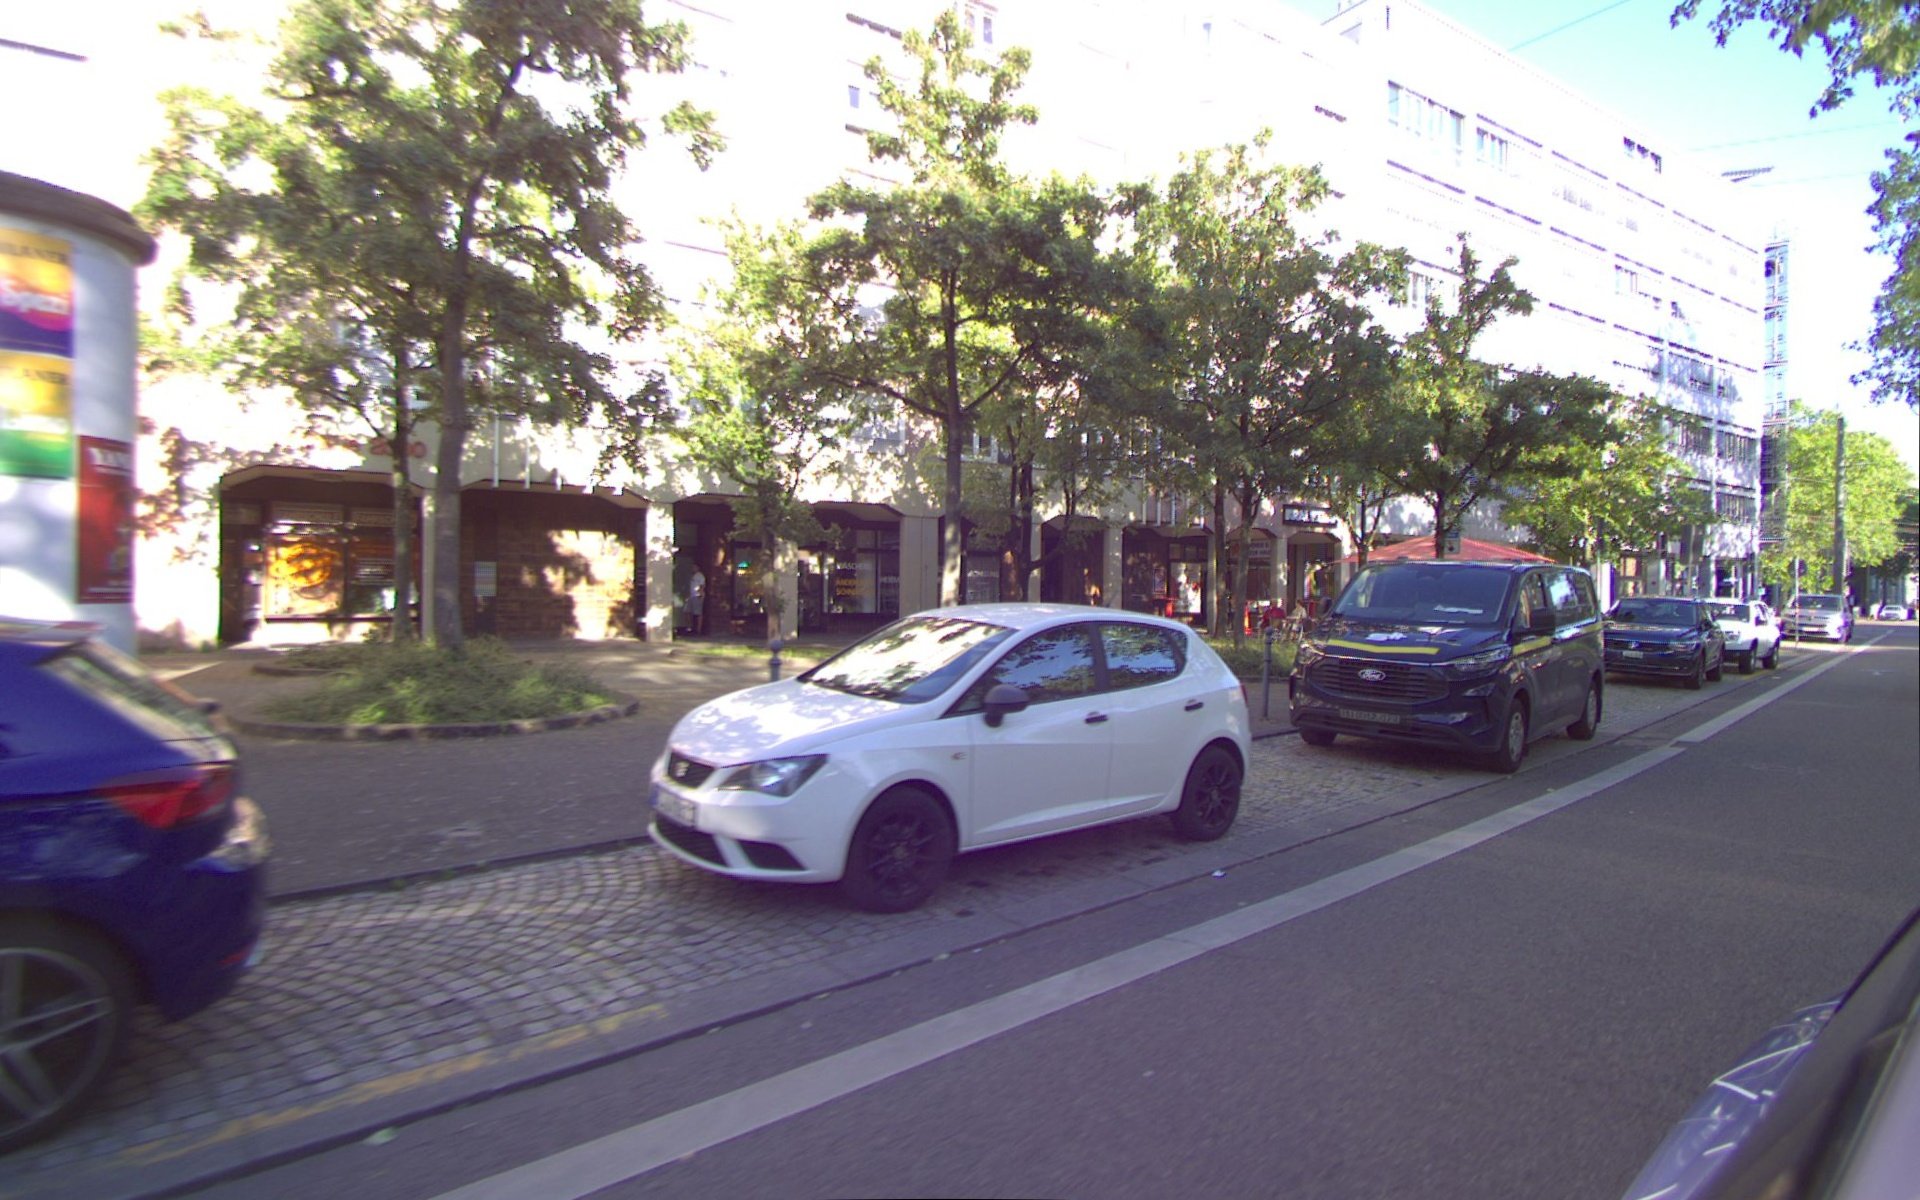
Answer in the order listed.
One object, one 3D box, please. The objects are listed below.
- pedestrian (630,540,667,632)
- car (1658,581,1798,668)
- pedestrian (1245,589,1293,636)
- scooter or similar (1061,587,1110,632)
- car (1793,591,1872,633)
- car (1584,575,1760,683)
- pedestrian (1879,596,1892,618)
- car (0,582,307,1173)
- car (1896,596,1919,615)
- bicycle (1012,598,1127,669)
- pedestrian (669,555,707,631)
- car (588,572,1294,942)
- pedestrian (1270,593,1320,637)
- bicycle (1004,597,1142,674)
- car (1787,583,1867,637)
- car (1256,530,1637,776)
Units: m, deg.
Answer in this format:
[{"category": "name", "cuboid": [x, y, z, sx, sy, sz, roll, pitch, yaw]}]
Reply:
[{"category": "pedestrian", "cuboid": [-7.916, -0.349, 25.703, 0.787, 2.276, 0.727, 1, 0, -24]}, {"category": "car", "cuboid": [17.610, 0.497, 23.130, 4.385, 1.745, 1.800, 0, 2, -43]}, {"category": "pedestrian", "cuboid": [8.718, 0.346, 28.522, 0.951, 1.266, 0.931, 1, 0, -41]}, {"category": "scooter or similar", "cuboid": [3.663, 0.273, 29.478, 1.337, 1.271, 0.668, 0, 0, -37]}, {"category": "car", "cuboid": [37.856, 0.512, 43.879, 3.946, 1.661, 1.922, 1, 2, -40]}, {"category": "car", "cuboid": [13.519, 0.474, 19.117, 4.497, 1.745, 1.800, 0, 2, -43]}, {"category": "pedestrian", "cuboid": [89.386, 0.688, 97.755, 0.642, 2.039, 0.648, 1, 0, -13]}, {"category": "car", "cuboid": [-4.105, 0.711, 2.329, 4.174, 1.502, 1.705, 0, 2, -41]}, {"category": "car", "cuboid": [92.987, 0.516, 99.120, 1.861, 1.756, 3.954, 1, 1, 45]}, {"category": "bicycle", "cuboid": [1.861, 0.556, 17.180, 1.872, 1.169, 0.486, 1, 0, -17]}, {"category": "pedestrian", "cuboid": [-6.903, -0.180, 25.665, 0.874, 1.895, 0.727, 1, 0, -17]}, {"category": "car", "cuboid": [0.120, 0.627, 6.107, 4.101, 1.483, 1.705, 0, 2, -40]}, {"category": "pedestrian", "cuboid": [9.749, 0.421, 29.485, 1.102, 1.228, 0.888, 0, 0, -34]}, {"category": "bicycle", "cuboid": [1.840, 0.564, 16.471, 2.138, 1.202, 0.657, 1, 0, -17]}, {"category": "car", "cuboid": [34.126, 0.375, 39.777, 4.781, 1.928, 1.919, 0, 2, -44]}, {"category": "car", "cuboid": [5.316, 0.380, 10.630, 2.039, 1.967, 5.115, 4, 2, 44]}]
